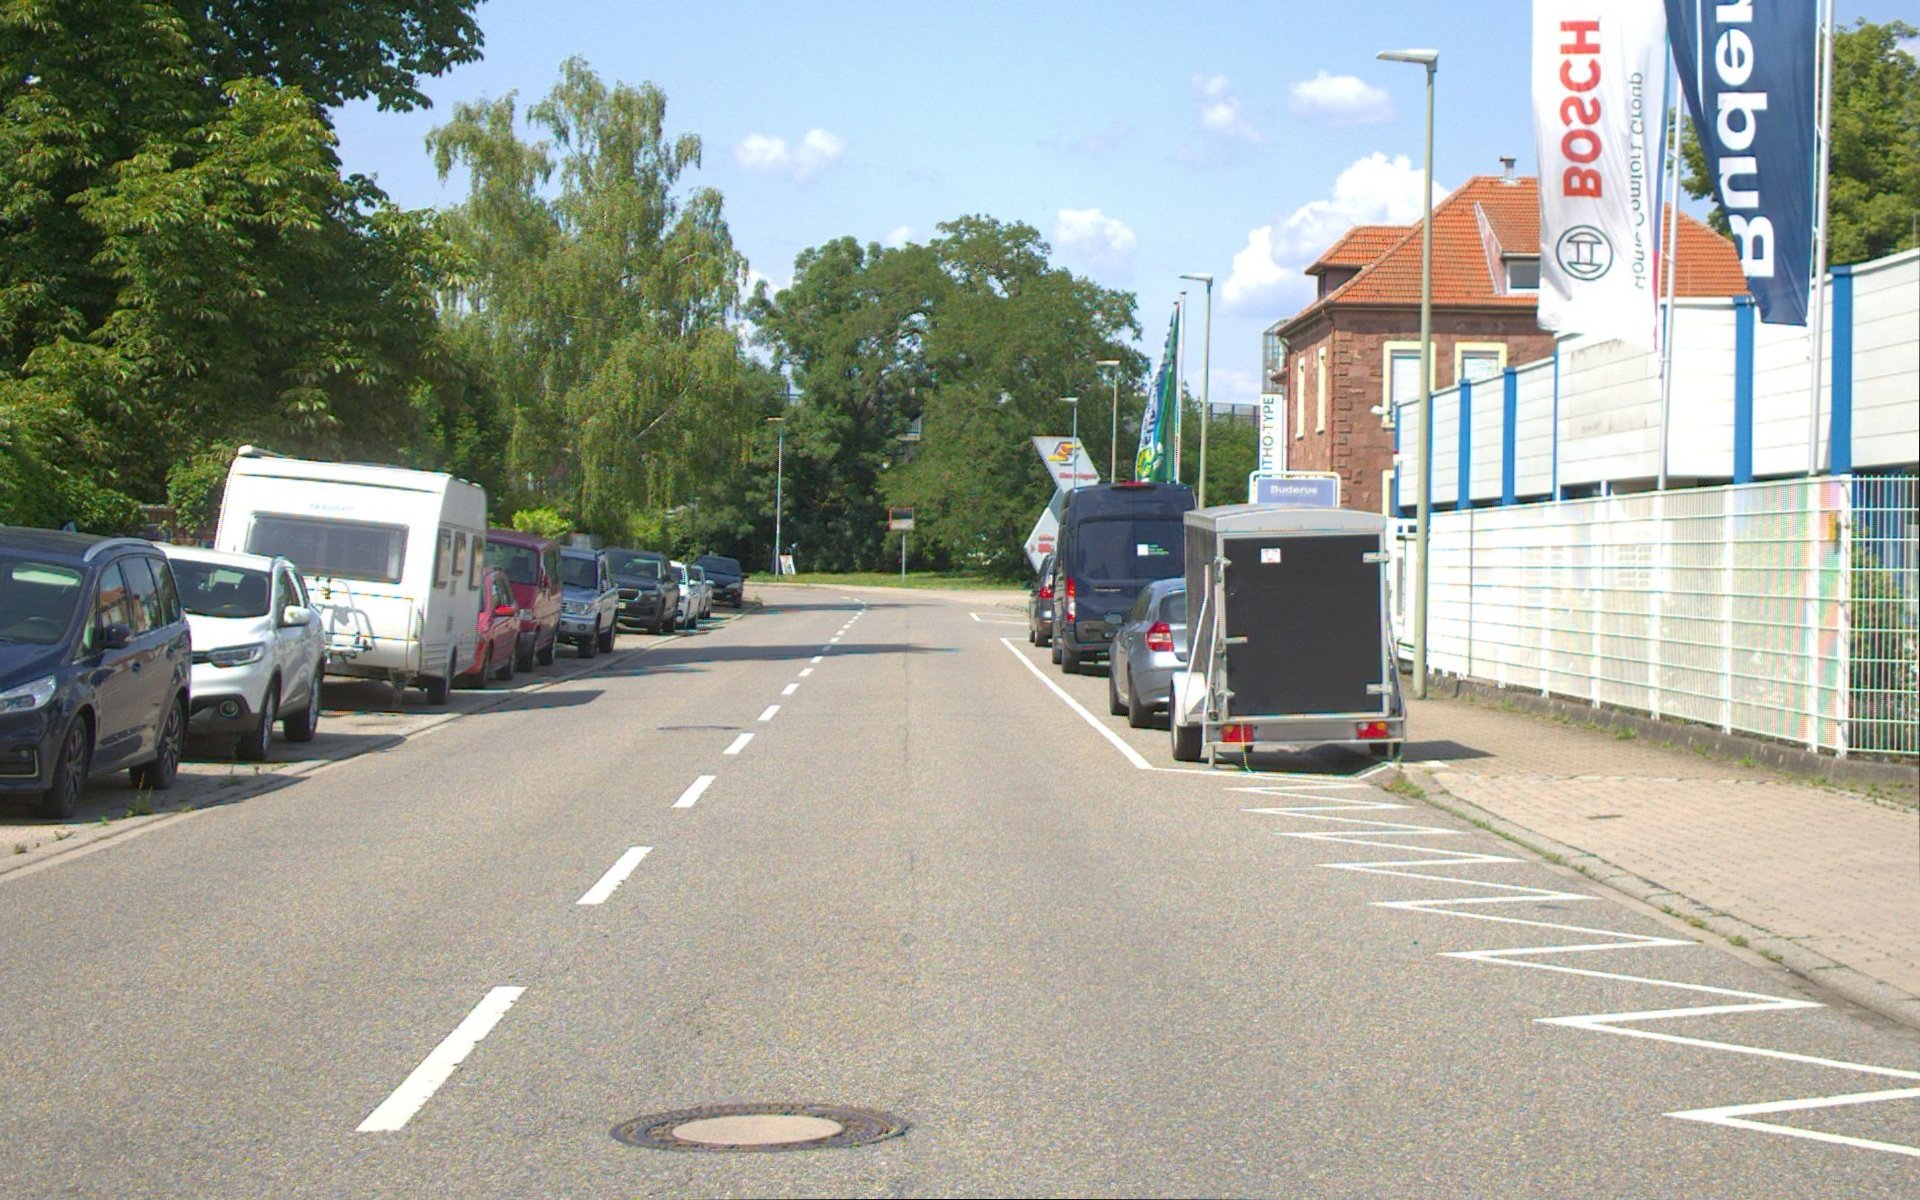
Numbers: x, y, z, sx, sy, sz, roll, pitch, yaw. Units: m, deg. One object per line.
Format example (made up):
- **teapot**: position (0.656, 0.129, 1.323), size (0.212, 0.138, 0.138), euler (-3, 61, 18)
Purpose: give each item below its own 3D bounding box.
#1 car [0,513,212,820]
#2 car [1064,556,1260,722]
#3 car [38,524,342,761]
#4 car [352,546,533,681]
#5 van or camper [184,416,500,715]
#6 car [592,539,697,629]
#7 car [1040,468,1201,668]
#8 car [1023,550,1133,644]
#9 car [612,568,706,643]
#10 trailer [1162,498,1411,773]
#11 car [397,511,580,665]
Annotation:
- **car**: position (-6.270, 0.348, 22.435), size (1.827, 1.787, 4.736), euler (1, 1, -1)
- **car**: position (1.921, 0.338, 33.710), size (1.572, 1.502, 4.133), euler (1, 1, -1)
- **car**: position (-6.330, 0.297, 28.705), size (1.683, 1.686, 4.446), euler (5, 0, -4)
- **car**: position (-6.632, 0.141, 44.434), size (1.625, 1.527, 4.269), euler (5, 1, -1)
- **van or camper**: position (-6.579, -0.377, 37.478), size (2.262, 2.794, 6.834), euler (4, 0, -2)
- **car**: position (-6.514, -0.356, 71.280), size (1.610, 1.739, 4.636), euler (3, 1, 1)
- **car**: position (2.295, -0.483, 50.719), size (1.937, 2.739, 6.155), euler (1, 1, -1)
- **car**: position (2.133, -0.087, 63.122), size (1.825, 1.659, 4.556), euler (0, 1, 0)
- **car**: position (-6.801, 0.095, 78.065), size (1.700, 1.589, 4.787), euler (1, 1, 0)
- **trailer**: position (2.543, 0.254, 27.298), size (1.601, 2.030, 2.741), euler (2, 1, -1)
- **car**: position (-6.859, -0.186, 50.488), size (1.898, 1.948, 4.958), euler (6, 0, -1)
